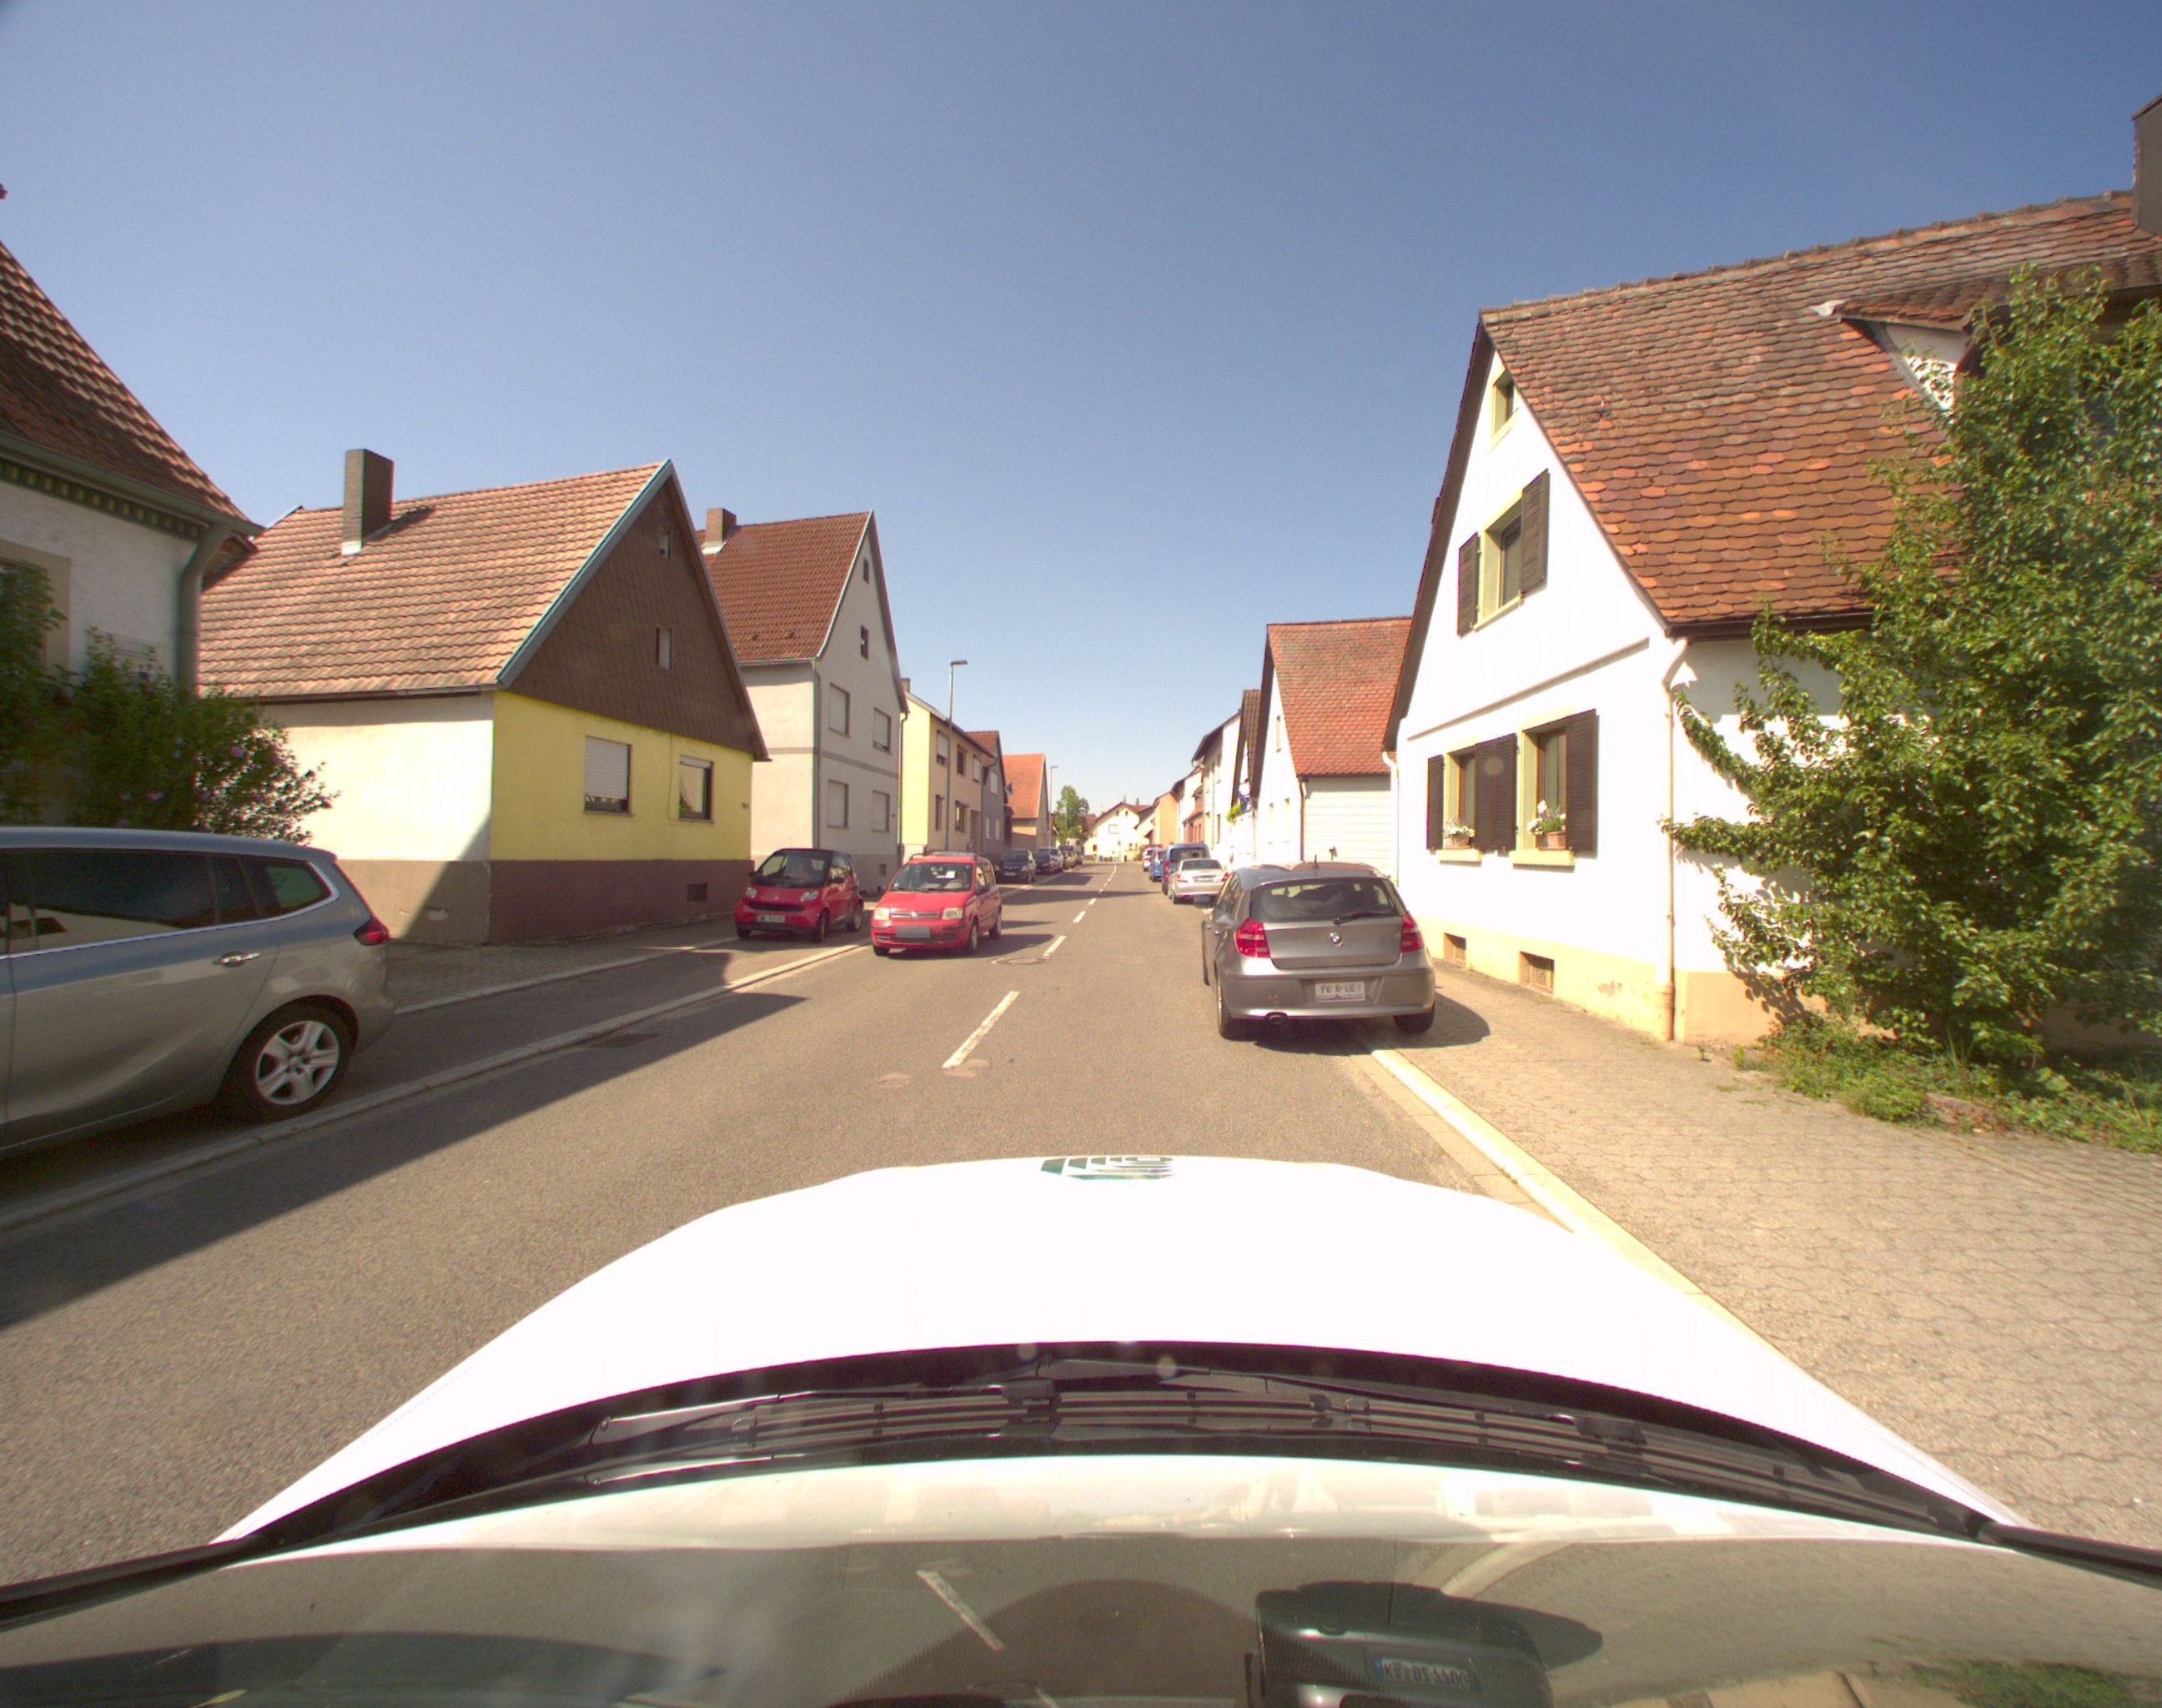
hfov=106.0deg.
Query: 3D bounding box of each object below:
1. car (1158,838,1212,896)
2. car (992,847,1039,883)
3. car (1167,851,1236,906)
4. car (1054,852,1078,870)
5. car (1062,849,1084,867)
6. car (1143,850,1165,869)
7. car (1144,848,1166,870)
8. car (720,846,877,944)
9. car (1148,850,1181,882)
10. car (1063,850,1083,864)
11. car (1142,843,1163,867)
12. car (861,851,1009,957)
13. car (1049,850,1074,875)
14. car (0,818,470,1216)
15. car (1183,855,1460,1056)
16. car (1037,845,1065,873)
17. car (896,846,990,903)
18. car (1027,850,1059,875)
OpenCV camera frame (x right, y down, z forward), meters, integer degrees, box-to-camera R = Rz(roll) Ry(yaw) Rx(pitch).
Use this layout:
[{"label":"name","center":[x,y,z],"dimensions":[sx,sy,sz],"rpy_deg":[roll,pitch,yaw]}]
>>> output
[{"label":"car","center":[3.697,0.441,29.540],"dimensions":[1.642,1.910,3.628],"rpy_deg":[2,0,3]},{"label":"car","center":[-3.000,0.494,38.131],"dimensions":[1.612,1.577,3.964],"rpy_deg":[2,0,3]},{"label":"car","center":[3.563,0.682,24.553],"dimensions":[1.697,1.496,3.455],"rpy_deg":[2,0,3]},{"label":"car","center":[-1.214,0.554,67.531],"dimensions":[1.747,1.442,4.002],"rpy_deg":[0,-1,2]},{"label":"car","center":[-0.750,0.374,75.128],"dimensions":[1.747,1.624,4.003],"rpy_deg":[0,-1,3]},{"label":"car","center":[5.877,0.460,65.772],"dimensions":[1.759,1.433,3.454],"rpy_deg":[0,-1,4]},{"label":"car","center":[5.234,0.343,58.098],"dimensions":[1.414,1.515,3.306],"rpy_deg":[2,0,3]},{"label":"car","center":[-4.972,0.660,14.710],"dimensions":[1.545,1.544,2.991],"rpy_deg":[2,0,5]},{"label":"car","center":[4.109,0.568,40.410],"dimensions":[1.414,1.515,3.306],"rpy_deg":[2,0,3]},{"label":"car","center":[-0.832,0.347,84.649],"dimensions":[1.746,1.442,4.005],"rpy_deg":[0,-1,5]},{"label":"car","center":[6.210,0.099,71.232],"dimensions":[1.759,2.004,3.454],"rpy_deg":[0,-1,4]},{"label":"car","center":[-2.288,0.734,13.651],"dimensions":[1.594,1.489,3.628],"rpy_deg":[2,0,3]},{"label":"car","center":[-1.400,0.628,59.675],"dimensions":[1.521,1.713,3.628],"rpy_deg":[2,0,3]},{"label":"car","center":[-5.368,0.646,3.304],"dimensions":[1.863,1.636,4.672],"rpy_deg":[2,0,6]},{"label":"car","center":[2.001,0.752,7.916],"dimensions":[1.697,1.433,3.892],"rpy_deg":[-1,0,3]},{"label":"car","center":[-1.967,0.331,54.315],"dimensions":[1.521,1.713,3.628],"rpy_deg":[2,0,3]},{"label":"car","center":[-4.144,0.587,25.186],"dimensions":[1.798,1.548,4.409],"rpy_deg":[2,0,5]},{"label":"car","center":[-2.271,0.537,49.238],"dimensions":[1.497,1.453,3.512],"rpy_deg":[0,-1,4]}]
